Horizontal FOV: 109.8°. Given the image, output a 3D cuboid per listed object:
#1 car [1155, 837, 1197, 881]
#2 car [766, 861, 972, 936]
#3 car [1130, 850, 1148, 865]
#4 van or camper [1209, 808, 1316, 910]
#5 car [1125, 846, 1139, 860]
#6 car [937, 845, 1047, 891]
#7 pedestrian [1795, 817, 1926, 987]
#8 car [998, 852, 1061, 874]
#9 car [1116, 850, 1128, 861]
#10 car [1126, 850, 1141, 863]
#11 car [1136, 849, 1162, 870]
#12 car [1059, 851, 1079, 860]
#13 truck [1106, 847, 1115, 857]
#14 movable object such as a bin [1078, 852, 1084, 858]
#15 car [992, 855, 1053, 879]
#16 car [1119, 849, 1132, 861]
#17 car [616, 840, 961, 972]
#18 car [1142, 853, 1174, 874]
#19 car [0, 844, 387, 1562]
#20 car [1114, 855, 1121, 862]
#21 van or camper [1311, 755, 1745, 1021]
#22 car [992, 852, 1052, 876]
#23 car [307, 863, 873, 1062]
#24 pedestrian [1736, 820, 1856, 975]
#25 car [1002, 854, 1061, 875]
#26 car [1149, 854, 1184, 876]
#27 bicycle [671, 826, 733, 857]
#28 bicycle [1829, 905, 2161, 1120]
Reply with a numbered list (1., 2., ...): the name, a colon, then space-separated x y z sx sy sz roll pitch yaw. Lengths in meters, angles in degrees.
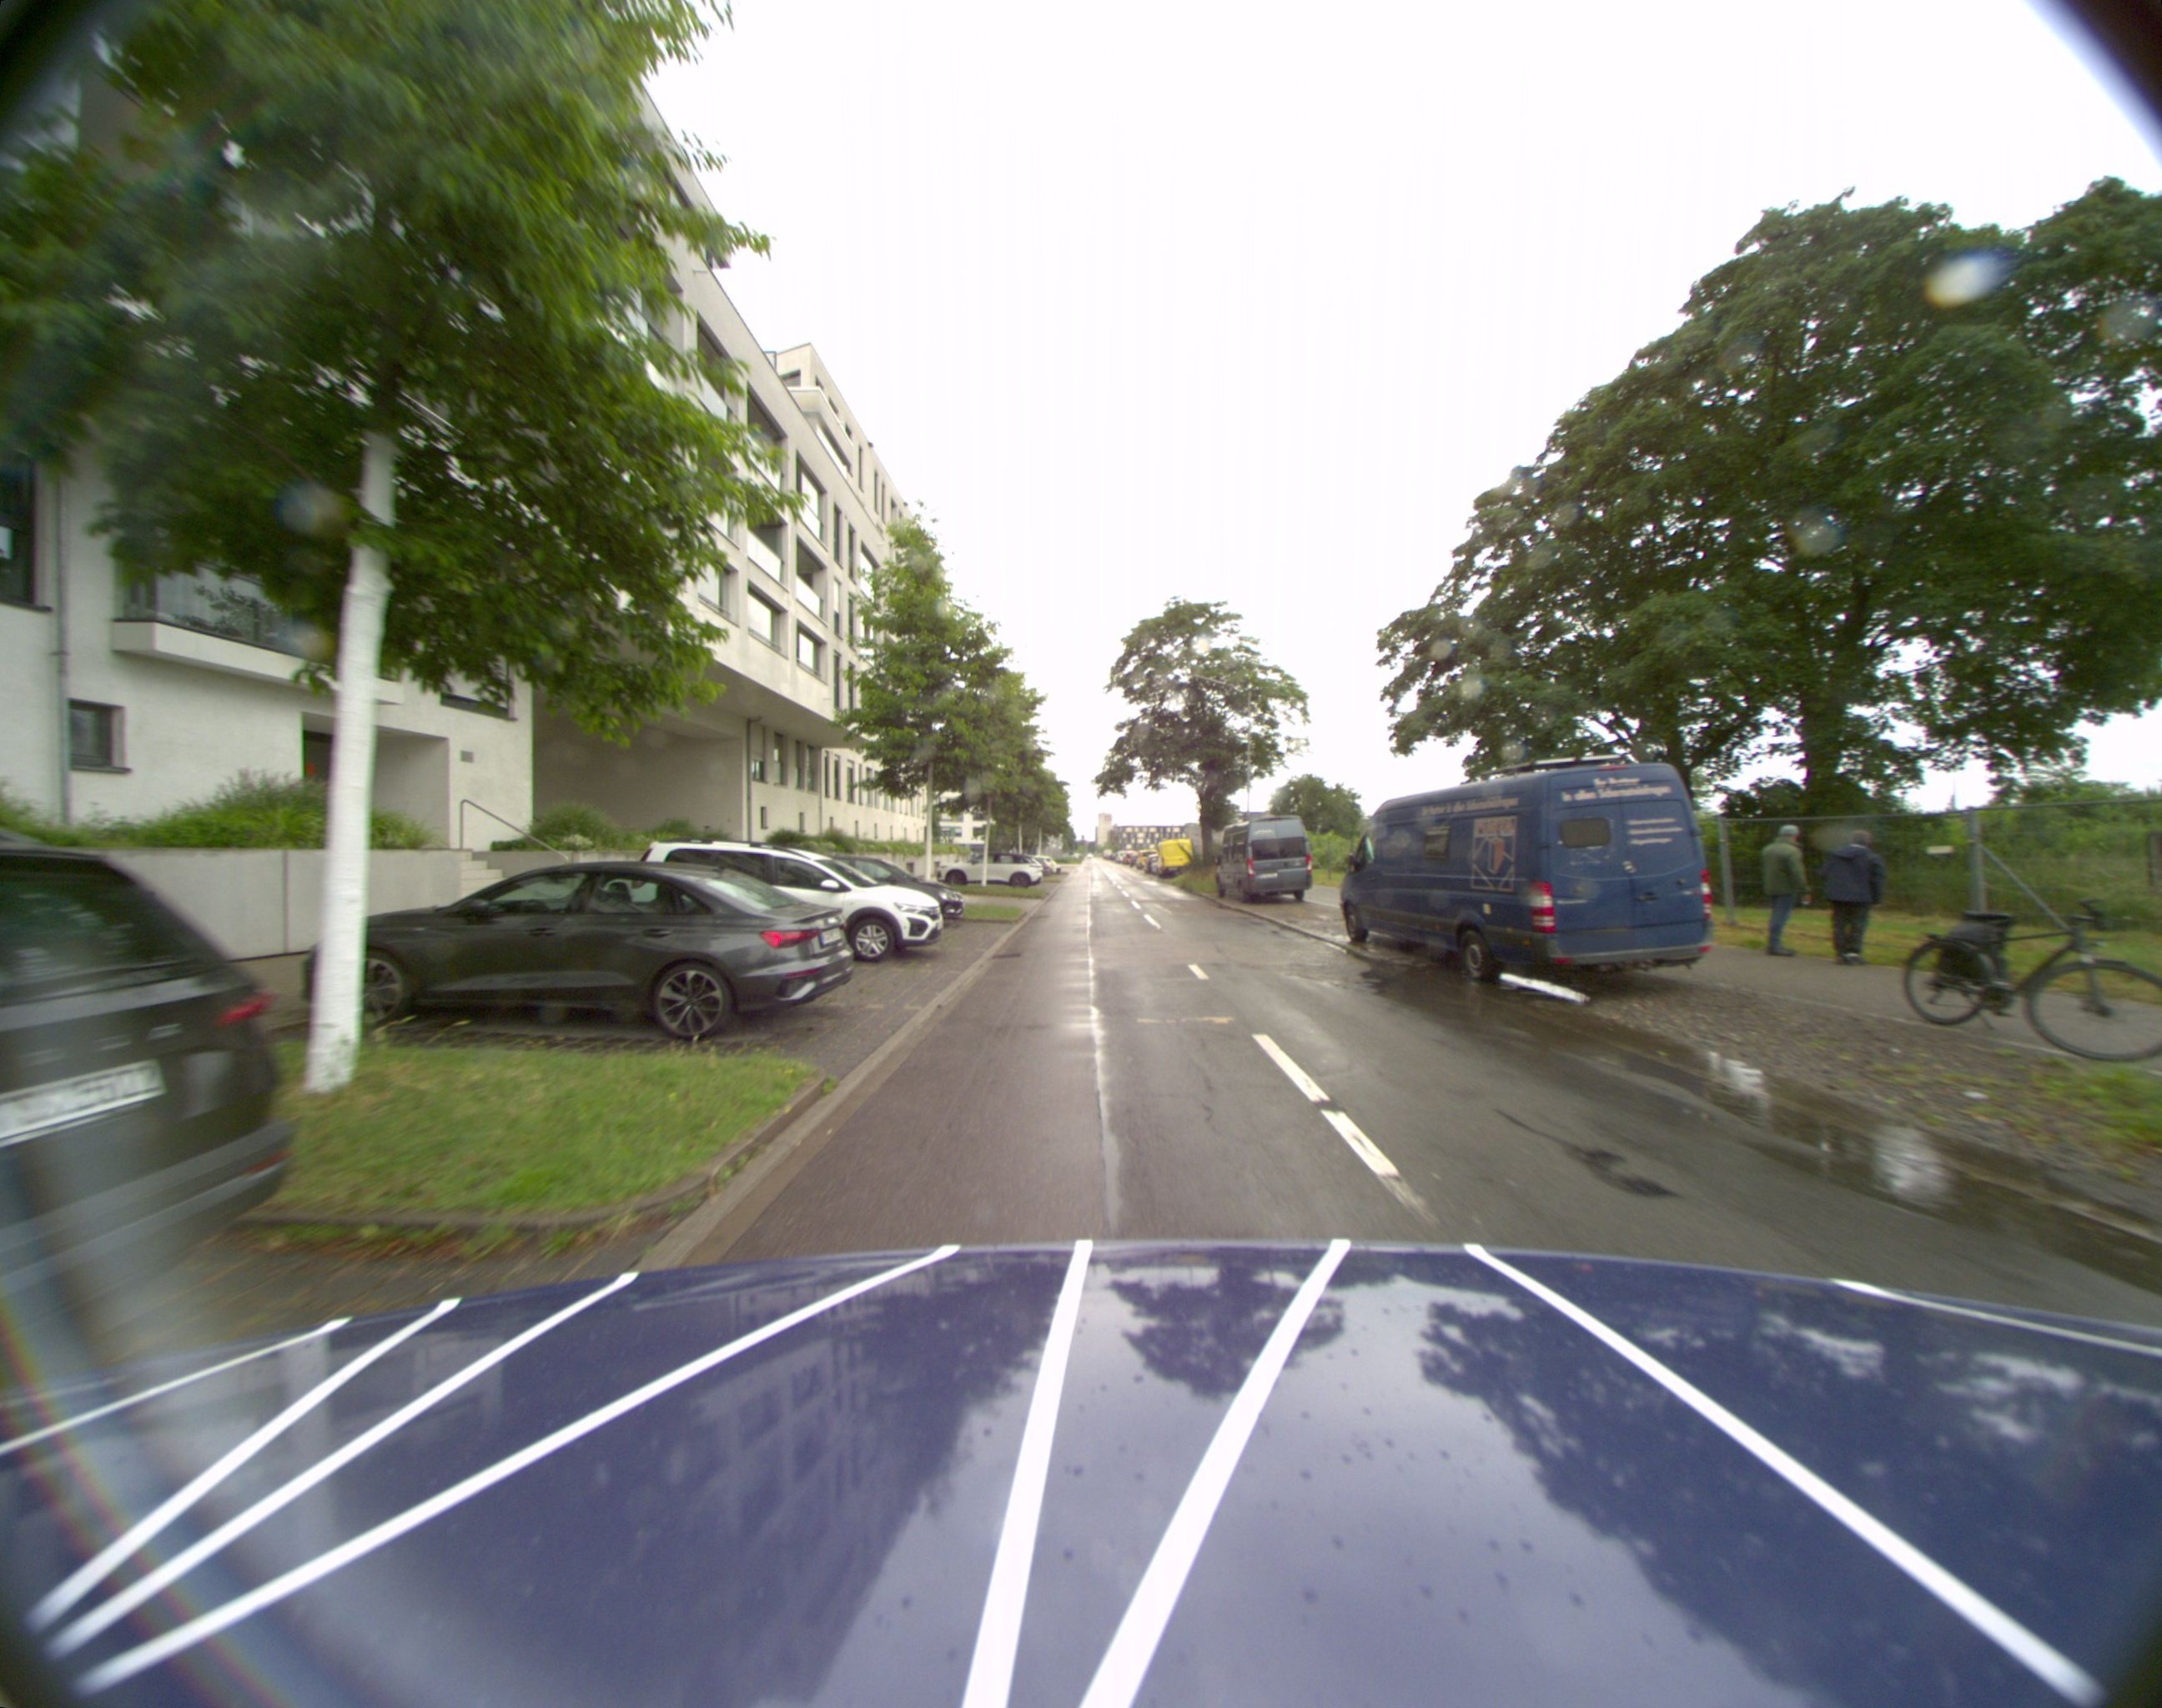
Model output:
1. car: 6.364 0.301 51.655 2.197 2.678 6.082 -3 0 2
2. car: -4.520 0.923 16.709 3.998 1.487 1.936 -1 0 -3
3. car: 6.661 0.428 88.103 1.808 1.552 4.033 -3 0 1
4. van or camper: 6.215 0.107 26.965 2.100 3.076 6.423 -3 1 0
5. car: 7.833 -0.150 117.118 1.947 2.223 5.557 -1 0 1
6. car: -3.823 0.594 33.380 4.551 1.675 1.885 4 1 -2
7. pedestrian: 9.708 0.574 9.496 0.721 2.002 0.853 -2 1 0
8. car: -3.792 0.647 56.267 4.498 1.473 1.692 2 1 1
9. car: 7.594 0.242 141.246 1.960 1.890 4.995 -1 0 1
10. car: 7.236 0.316 105.472 1.944 1.757 4.331 -1 0 3
11. car: 6.699 0.528 75.545 2.022 1.945 6.064 -3 1 1
12. car: -2.549 0.302 156.967 4.100 1.614 1.966 2 1 0
13. truck: 8.874 -0.596 232.140 2.442 3.050 6.700 -2 0 0
14. movable object such as a bin: -0.034 0.165 193.687 1.499 1.484 1.155 2 1 1
15. car: -3.893 0.873 51.027 3.967 1.466 1.591 -2 1 -1
16. car: 7.460 0.146 128.054 1.964 2.046 5.274 -2 0 1
17. car: -4.269 0.742 11.670 4.487 1.677 1.935 2 0 -1
18. car: 6.354 0.763 63.253 1.999 1.585 5.016 -3 1 0
19. car: -4.526 0.765 1.682 4.173 1.615 1.897 1 1 -2
20. car: 9.043 1.149 187.766 1.756 1.683 4.882 -1 0 4
21. van or camper: 5.874 0.316 11.806 2.100 2.700 7.572 -3 1 -1
22. car: -4.132 0.701 53.671 3.997 1.546 1.635 2 1 1
23. car: -4.126 0.870 6.866 3.997 1.501 1.684 1 0 0
24. pedestrian: 9.762 0.569 10.409 0.739 2.002 0.900 -2 1 0
25. car: -3.942 0.808 61.087 4.582 1.488 1.825 2 1 0
26. car: 6.486 0.827 57.917 2.015 1.426 5.339 -4 1 0
27. bicycle: -14.004 -0.462 28.128 1.899 1.048 0.723 -2 1 0
28. bicycle: 7.191 1.055 5.800 0.696 1.143 2.683 -2 -1 10
